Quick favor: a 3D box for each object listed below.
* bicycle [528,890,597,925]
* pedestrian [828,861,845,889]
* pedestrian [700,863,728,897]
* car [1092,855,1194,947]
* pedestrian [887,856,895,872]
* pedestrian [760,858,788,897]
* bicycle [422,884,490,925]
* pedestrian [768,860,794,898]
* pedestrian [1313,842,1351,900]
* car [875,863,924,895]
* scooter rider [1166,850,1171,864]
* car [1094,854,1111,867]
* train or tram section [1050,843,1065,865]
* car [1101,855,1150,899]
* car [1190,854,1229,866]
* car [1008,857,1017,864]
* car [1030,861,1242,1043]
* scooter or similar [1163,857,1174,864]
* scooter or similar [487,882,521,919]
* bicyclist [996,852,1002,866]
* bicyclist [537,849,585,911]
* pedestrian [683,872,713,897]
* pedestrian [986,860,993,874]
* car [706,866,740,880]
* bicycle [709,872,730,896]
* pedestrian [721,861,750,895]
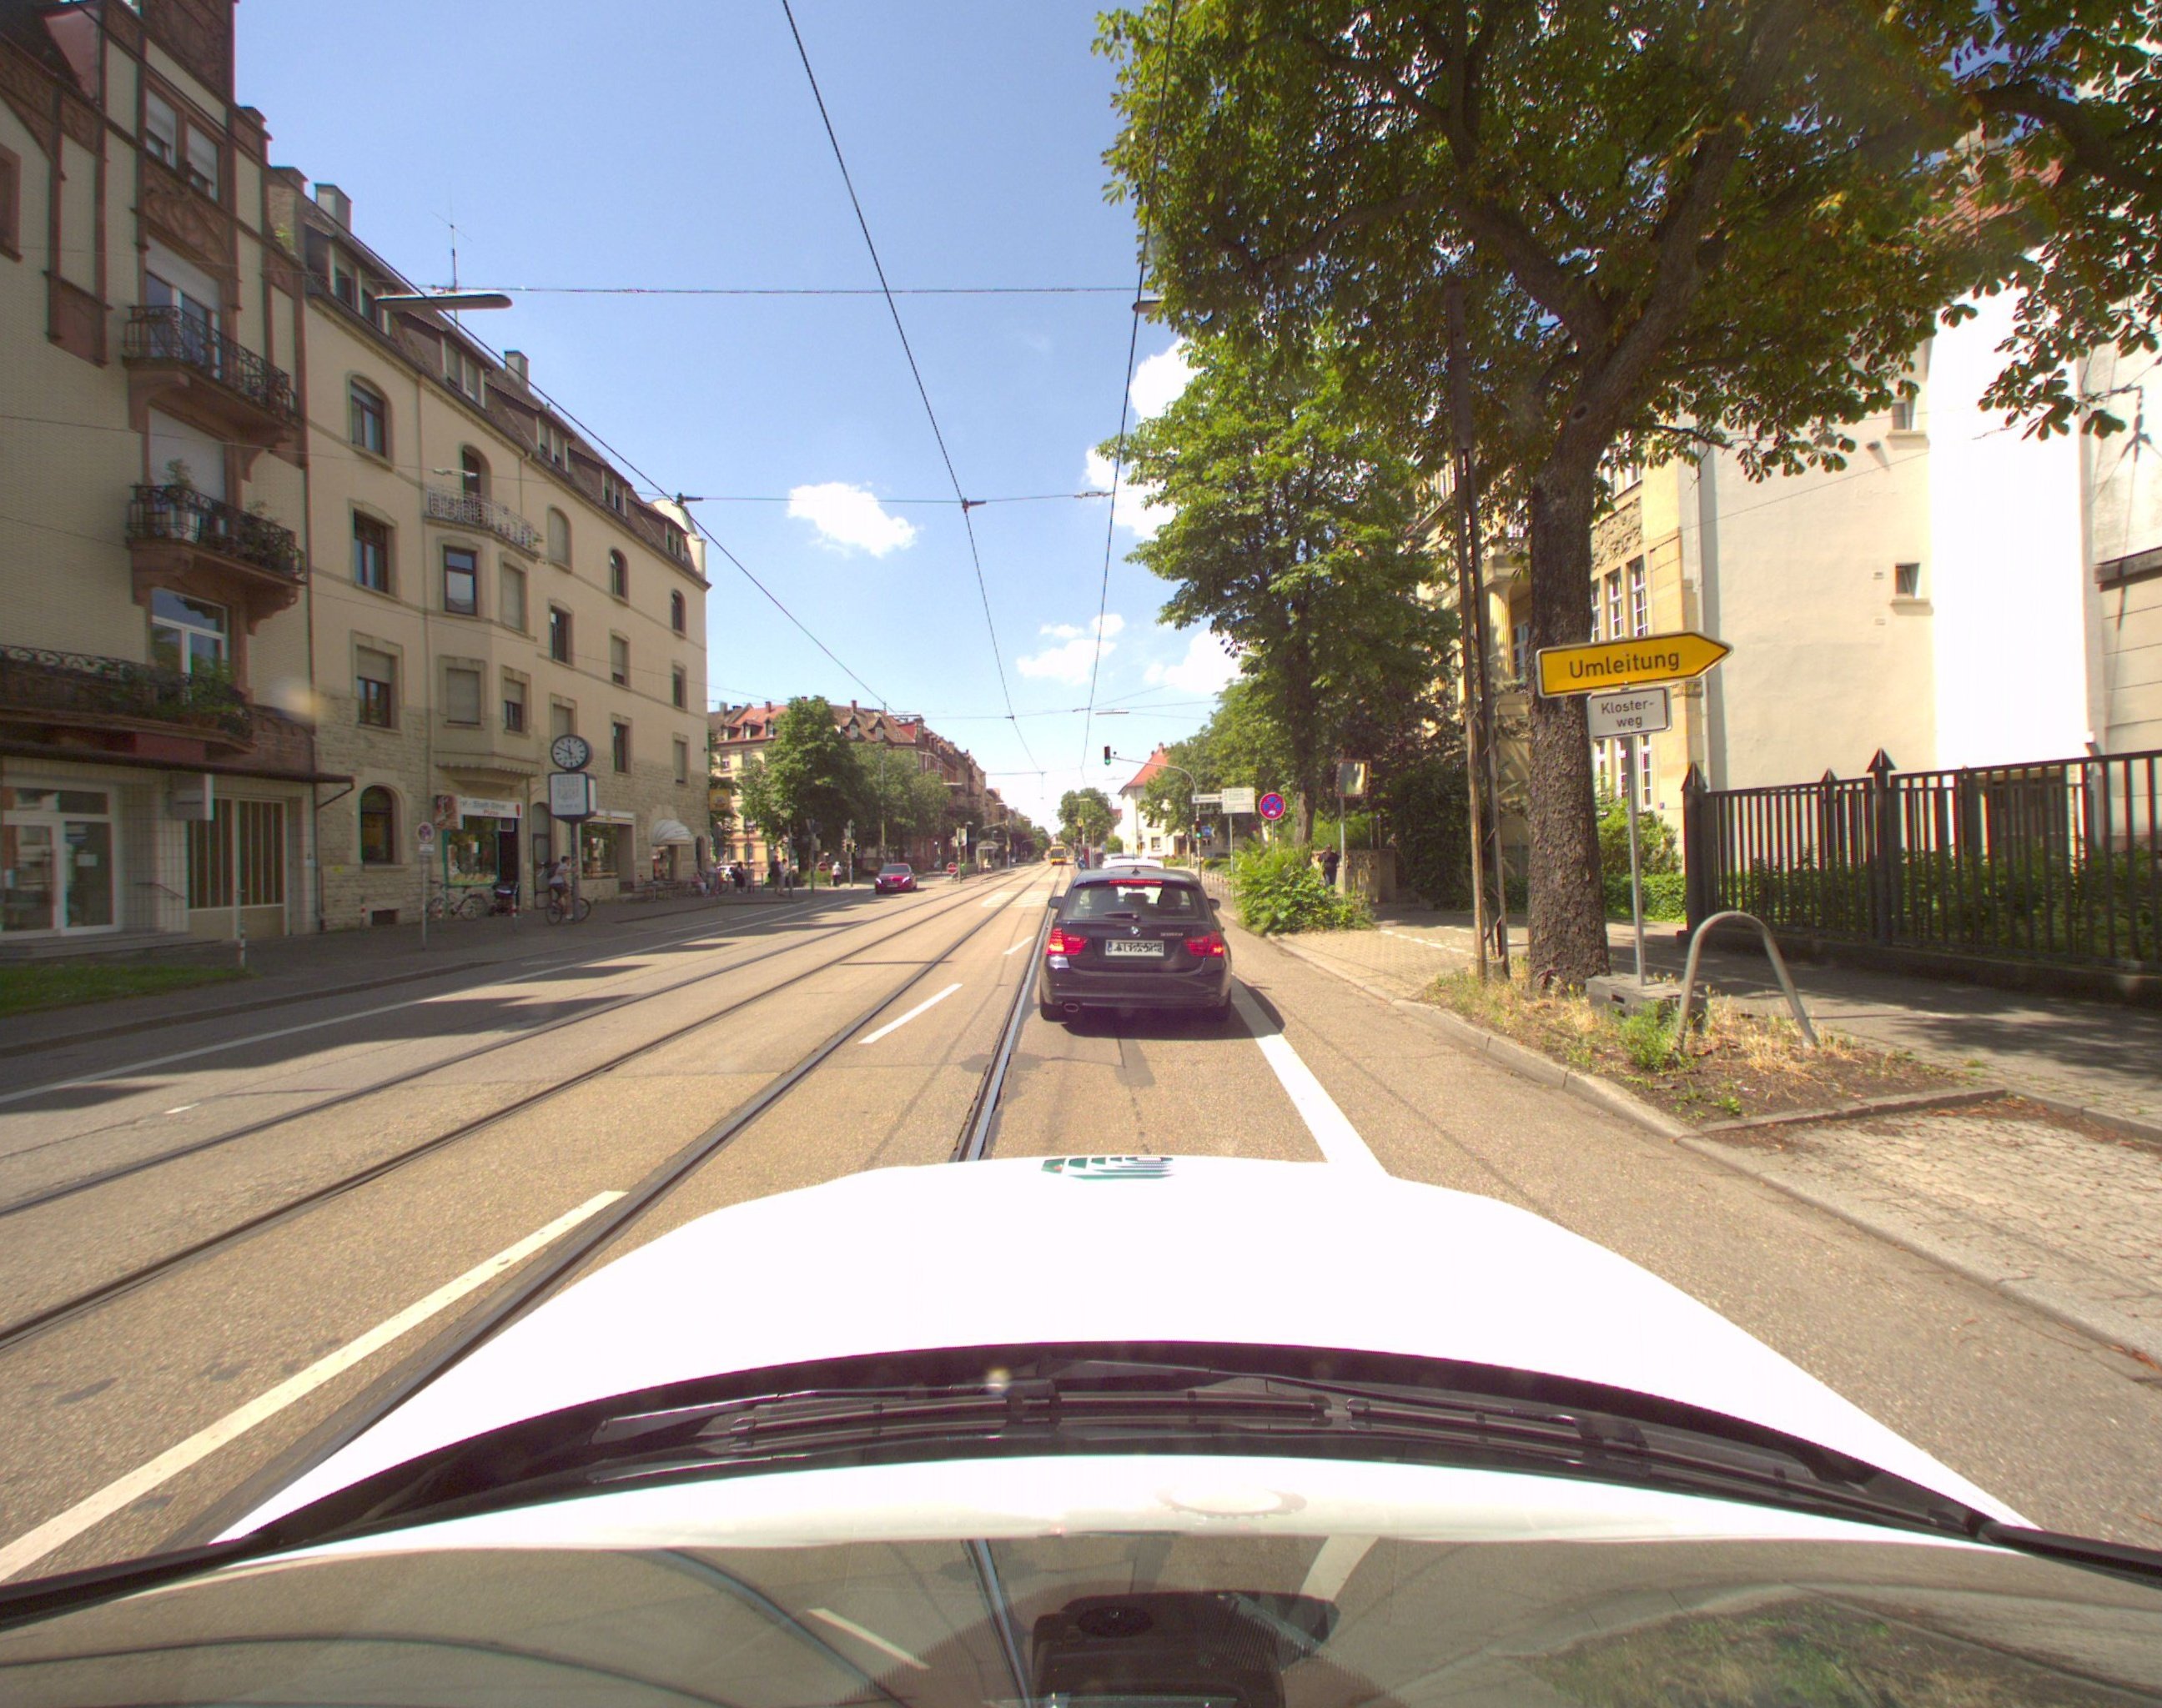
[{"bbox_3d":[-14.132,1.445,22.245,0.750,0.817,1.818,-2,0,-2],"label":"bicycle"},{"bbox_3d":[-15.410,1.314,51.356,0.916,1.723,0.837,-2,0,-10],"label":"pedestrian"},{"bbox_3d":[-17.548,1.230,38.948,0.908,1.595,0.814,-2,0,30],"label":"pedestrian"},{"bbox_3d":[1.091,0.800,15.628,1.679,1.484,3.685,-2,0,1],"label":"car"},{"bbox_3d":[-22.759,1.209,97.681,0.744,1.811,0.633,-1,0,-39],"label":"pedestrian"},{"bbox_3d":[-15.387,1.147,40.834,0.898,1.891,1.164,-2,0,-2],"label":"pedestrian"},{"bbox_3d":[-17.033,1.360,22.242,0.366,1.066,1.473,-1,-2,22],"label":"bicycle"},{"bbox_3d":[-14.047,1.153,38.144,0.855,1.732,0.777,0,0,9],"label":"pedestrian"},{"bbox_3d":[7.250,0.484,23.571,0.852,1.645,0.838,-2,-1,7],"label":"pedestrian"},{"bbox_3d":[-9.077,1.201,40.980,1.821,1.413,4.419,-3,0,-6],"label":"car"},{"bbox_3d":[10.901,0.363,101.449,0.590,1.687,0.527,-2,0,-7],"label":"scooter rider"},{"bbox_3d":[3.227,0.935,123.019,1.990,1.849,3.994,-2,0,-5],"label":"car"},{"bbox_3d":[-3.912,0.027,136.705,2.184,3.482,8.840,-2,0,-1],"label":"train or tram section"},{"bbox_3d":[1.642,0.805,30.304,1.684,1.514,3.824,-1,0,3],"label":"car"},{"bbox_3d":[14.064,0.653,89.213,3.948,1.243,1.634,-2,0,34],"label":"car"},{"bbox_3d":[-16.625,1.515,197.025,1.787,1.586,3.987,0,-1,-9],"label":"car"},{"bbox_3d":[0.613,0.816,8.927,1.715,1.409,4.570,0,0,4],"label":"car"},{"bbox_3d":[10.926,0.839,101.439,1.310,0.837,0.525,-2,0,-7],"label":"scooter or similar"},{"bbox_3d":[-17.251,1.374,24.322,0.700,1.044,1.195,1,-1,-42],"label":"scooter or similar"},{"bbox_3d":[-11.375,0.666,112.421,0.721,1.870,0.824,-2,0,-3],"label":"bicyclist"},{"bbox_3d":[-14.139,0.705,22.172,0.753,1.663,0.831,0,-1,1],"label":"bicyclist"},{"bbox_3d":[-17.398,1.395,37.049,0.913,1.077,0.883,-2,0,0],"label":"pedestrian"},{"bbox_3d":[-8.138,1.163,72.678,0.613,1.243,0.626,-2,0,-7],"label":"pedestrian"},{"bbox_3d":[-40.595,2.117,92.347,3.428,1.471,1.694,-2,0,23],"label":"car"},{"bbox_3d":[-18.046,1.523,40.646,0.547,1.128,1.663,-1,-2,-38],"label":"bicycle"},{"bbox_3d":[-17.566,1.216,41.433,1.014,1.635,0.867,-2,0,20],"label":"pedestrian"}]
